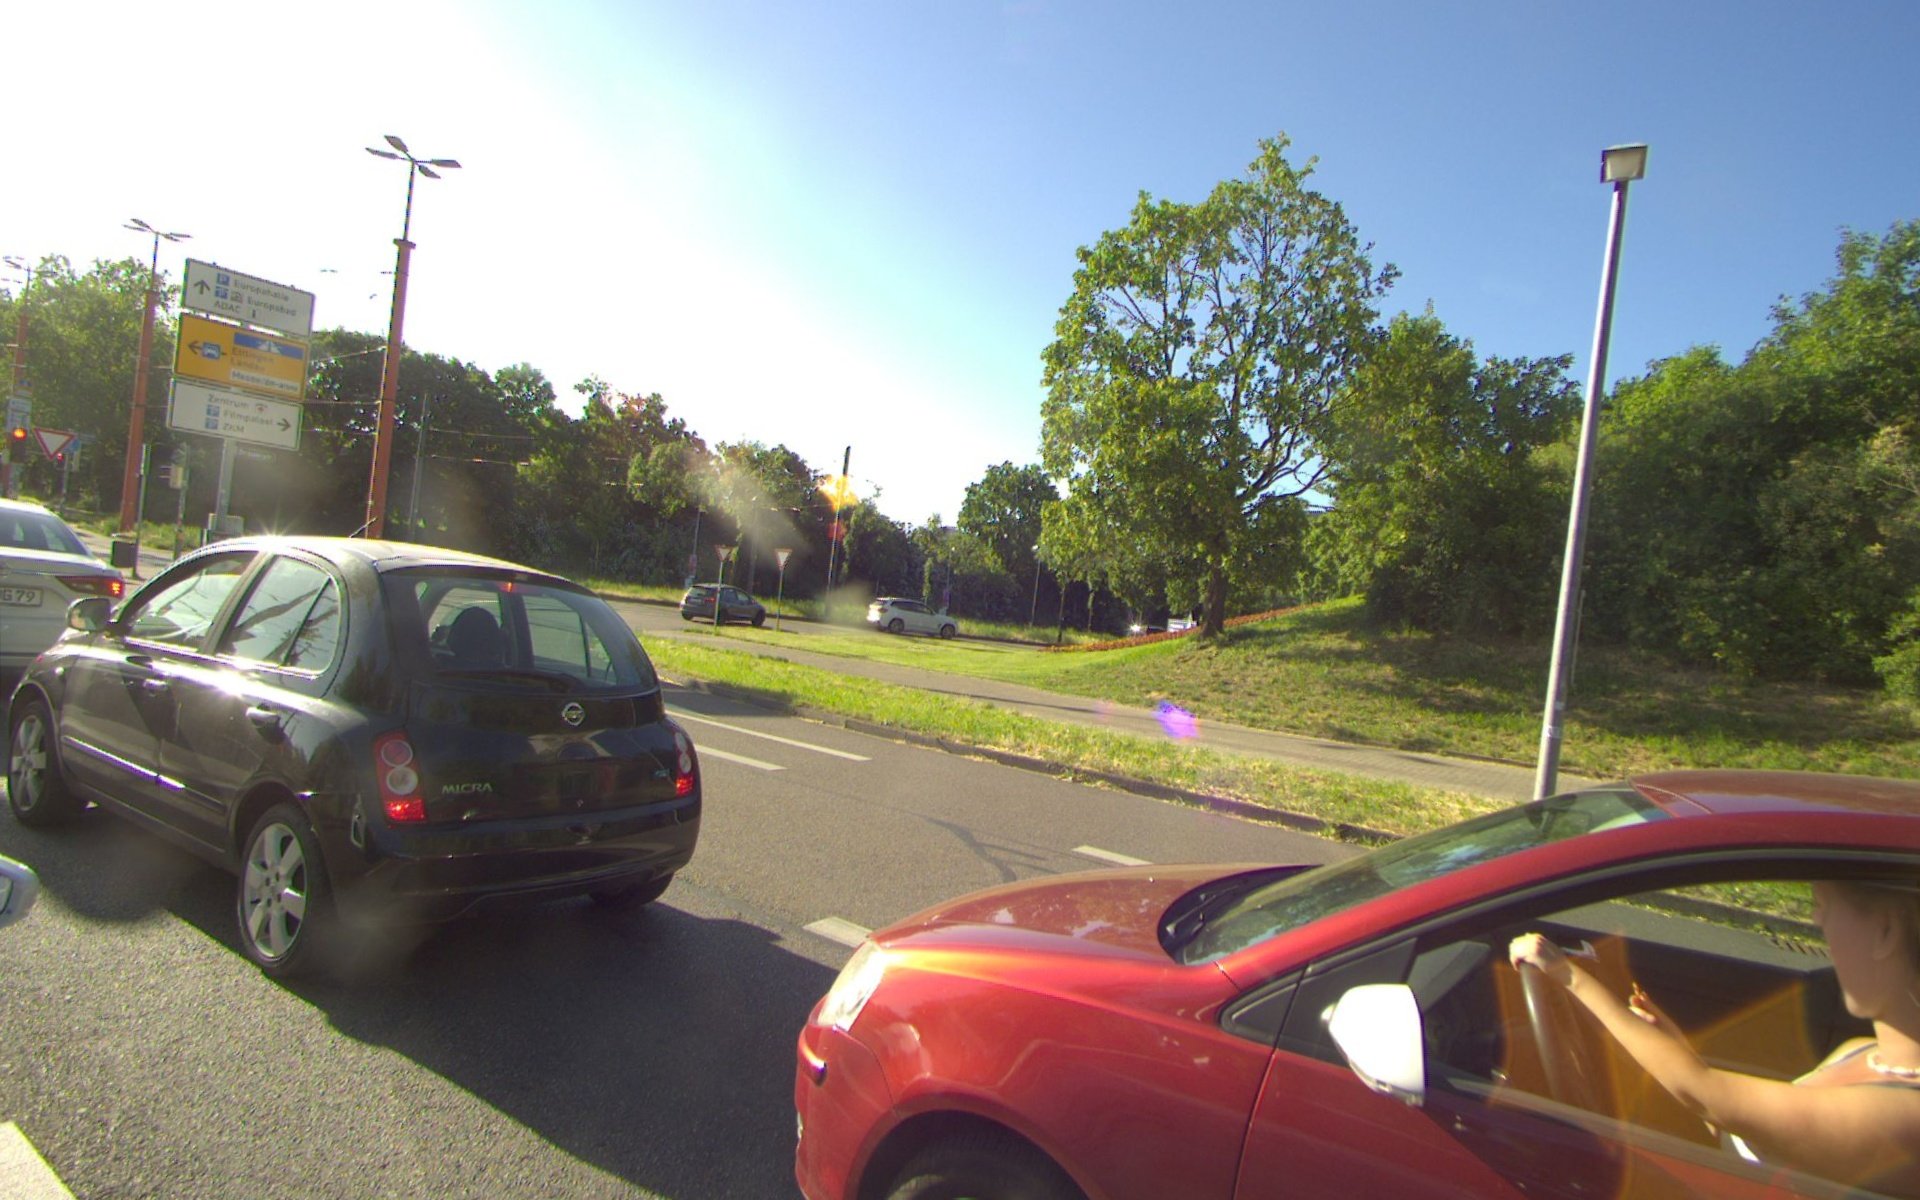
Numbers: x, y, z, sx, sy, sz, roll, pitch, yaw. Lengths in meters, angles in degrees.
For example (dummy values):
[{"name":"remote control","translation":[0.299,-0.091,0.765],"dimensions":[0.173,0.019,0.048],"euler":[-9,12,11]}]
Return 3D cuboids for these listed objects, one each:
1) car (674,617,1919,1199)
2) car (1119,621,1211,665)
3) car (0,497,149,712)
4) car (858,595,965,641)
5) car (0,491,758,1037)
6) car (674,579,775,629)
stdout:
[{"name":"car","translation":[1.369,0.990,1.896],"dimensions":[3.634,1.434,1.624],"euler":[7,-1,34]},{"name":"car","translation":[11.657,2.449,57.157],"dimensions":[4.735,1.858,1.903],"euler":[8,-1,-24]},{"name":"car","translation":[-8.348,-0.164,7.980],"dimensions":[4.077,1.472,1.717],"euler":[7,-1,33]},{"name":"car","translation":[-2.326,0.881,48.875],"dimensions":[4.744,1.617,1.900],"euler":[8,-1,-30]},{"name":"car","translation":[-2.823,0.464,4.627],"dimensions":[3.457,1.524,1.558],"euler":[7,0,32]},{"name":"car","translation":[-8.939,0.184,38.470],"dimensions":[1.719,1.486,3.892],"euler":[7,-1,22]}]
